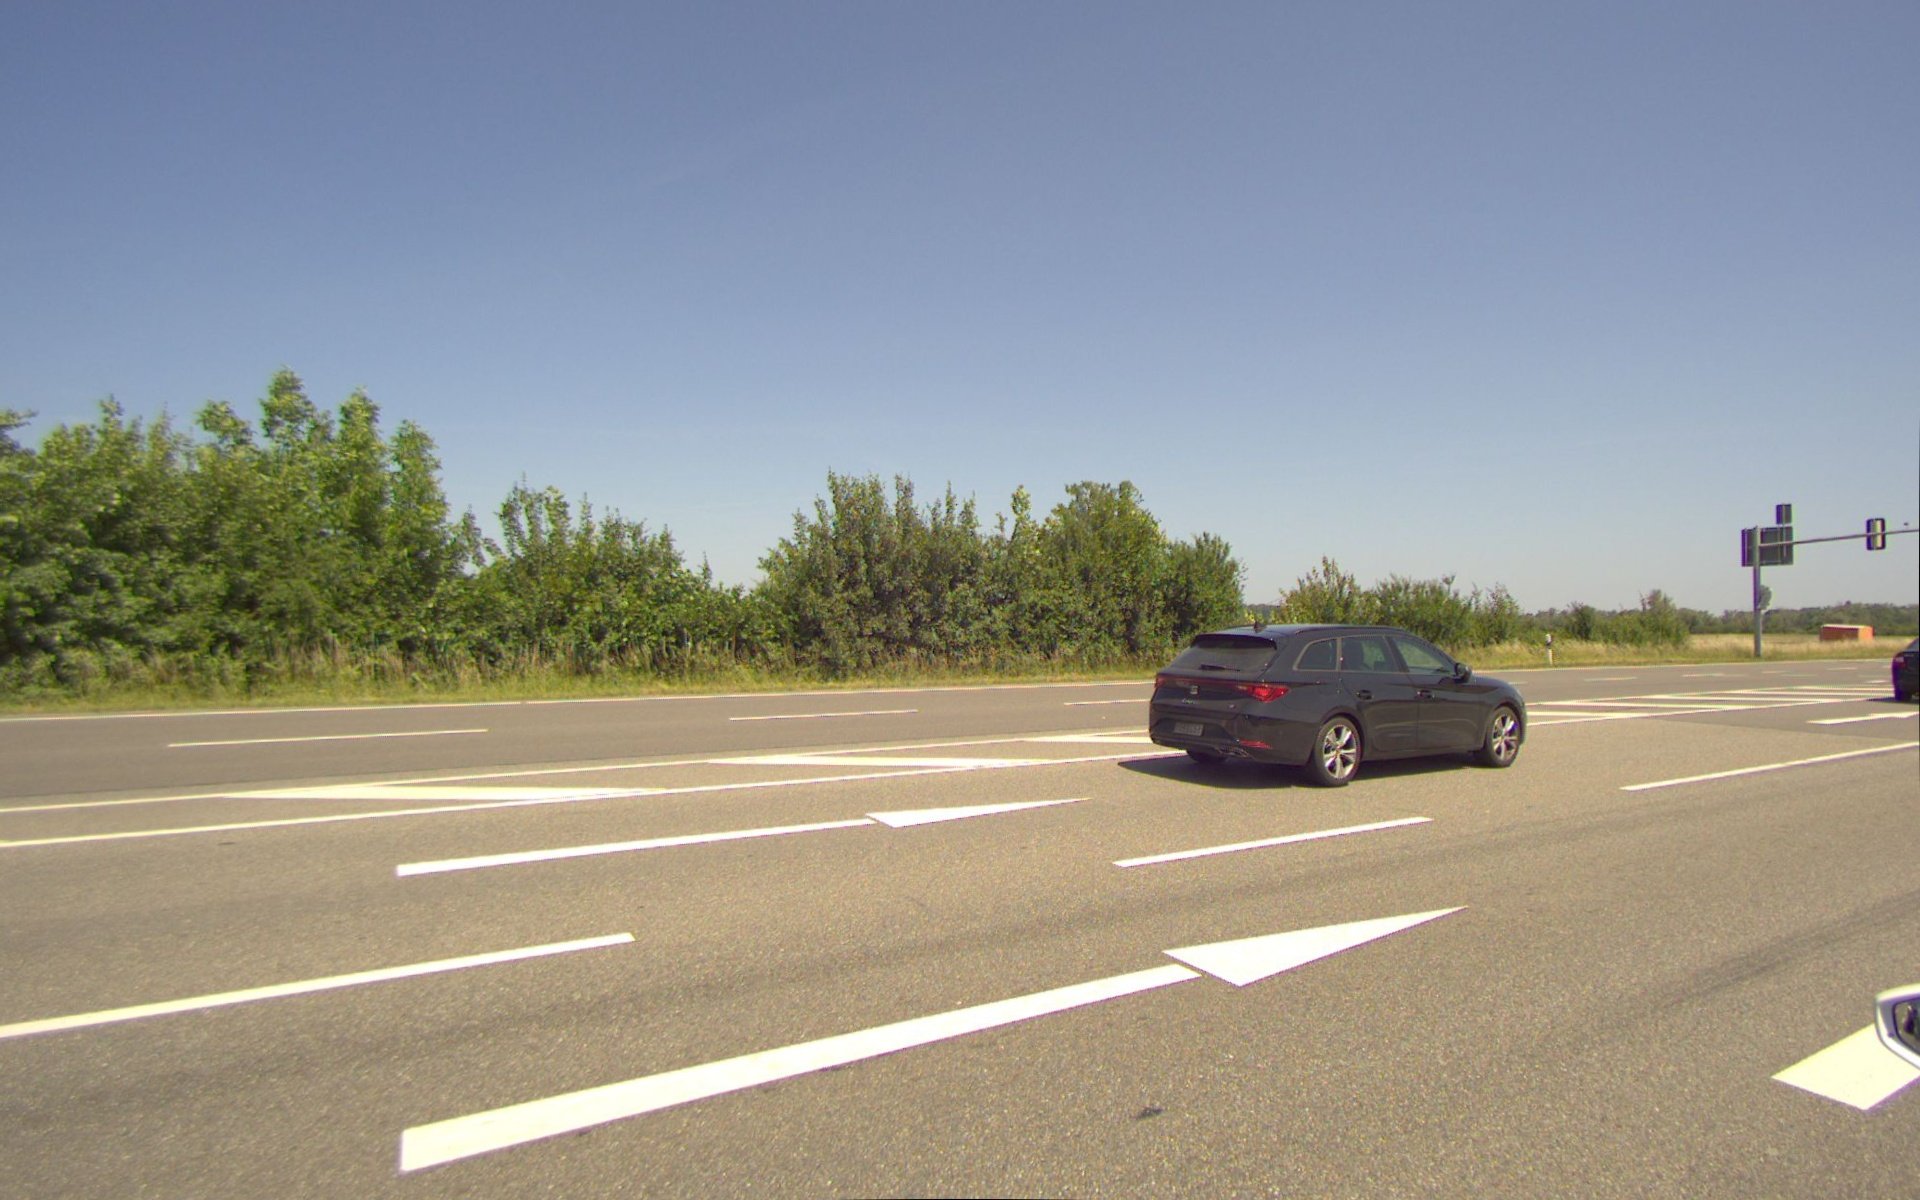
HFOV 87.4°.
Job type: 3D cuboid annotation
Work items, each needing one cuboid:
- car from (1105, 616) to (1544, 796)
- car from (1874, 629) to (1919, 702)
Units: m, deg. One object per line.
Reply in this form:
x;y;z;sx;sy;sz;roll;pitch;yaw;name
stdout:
3.824;0.946;10.302;4.475;1.466;1.879;2;-1;-32;car
21.057;1.373;21.082;4.418;1.430;1.665;2;-1;-32;car
